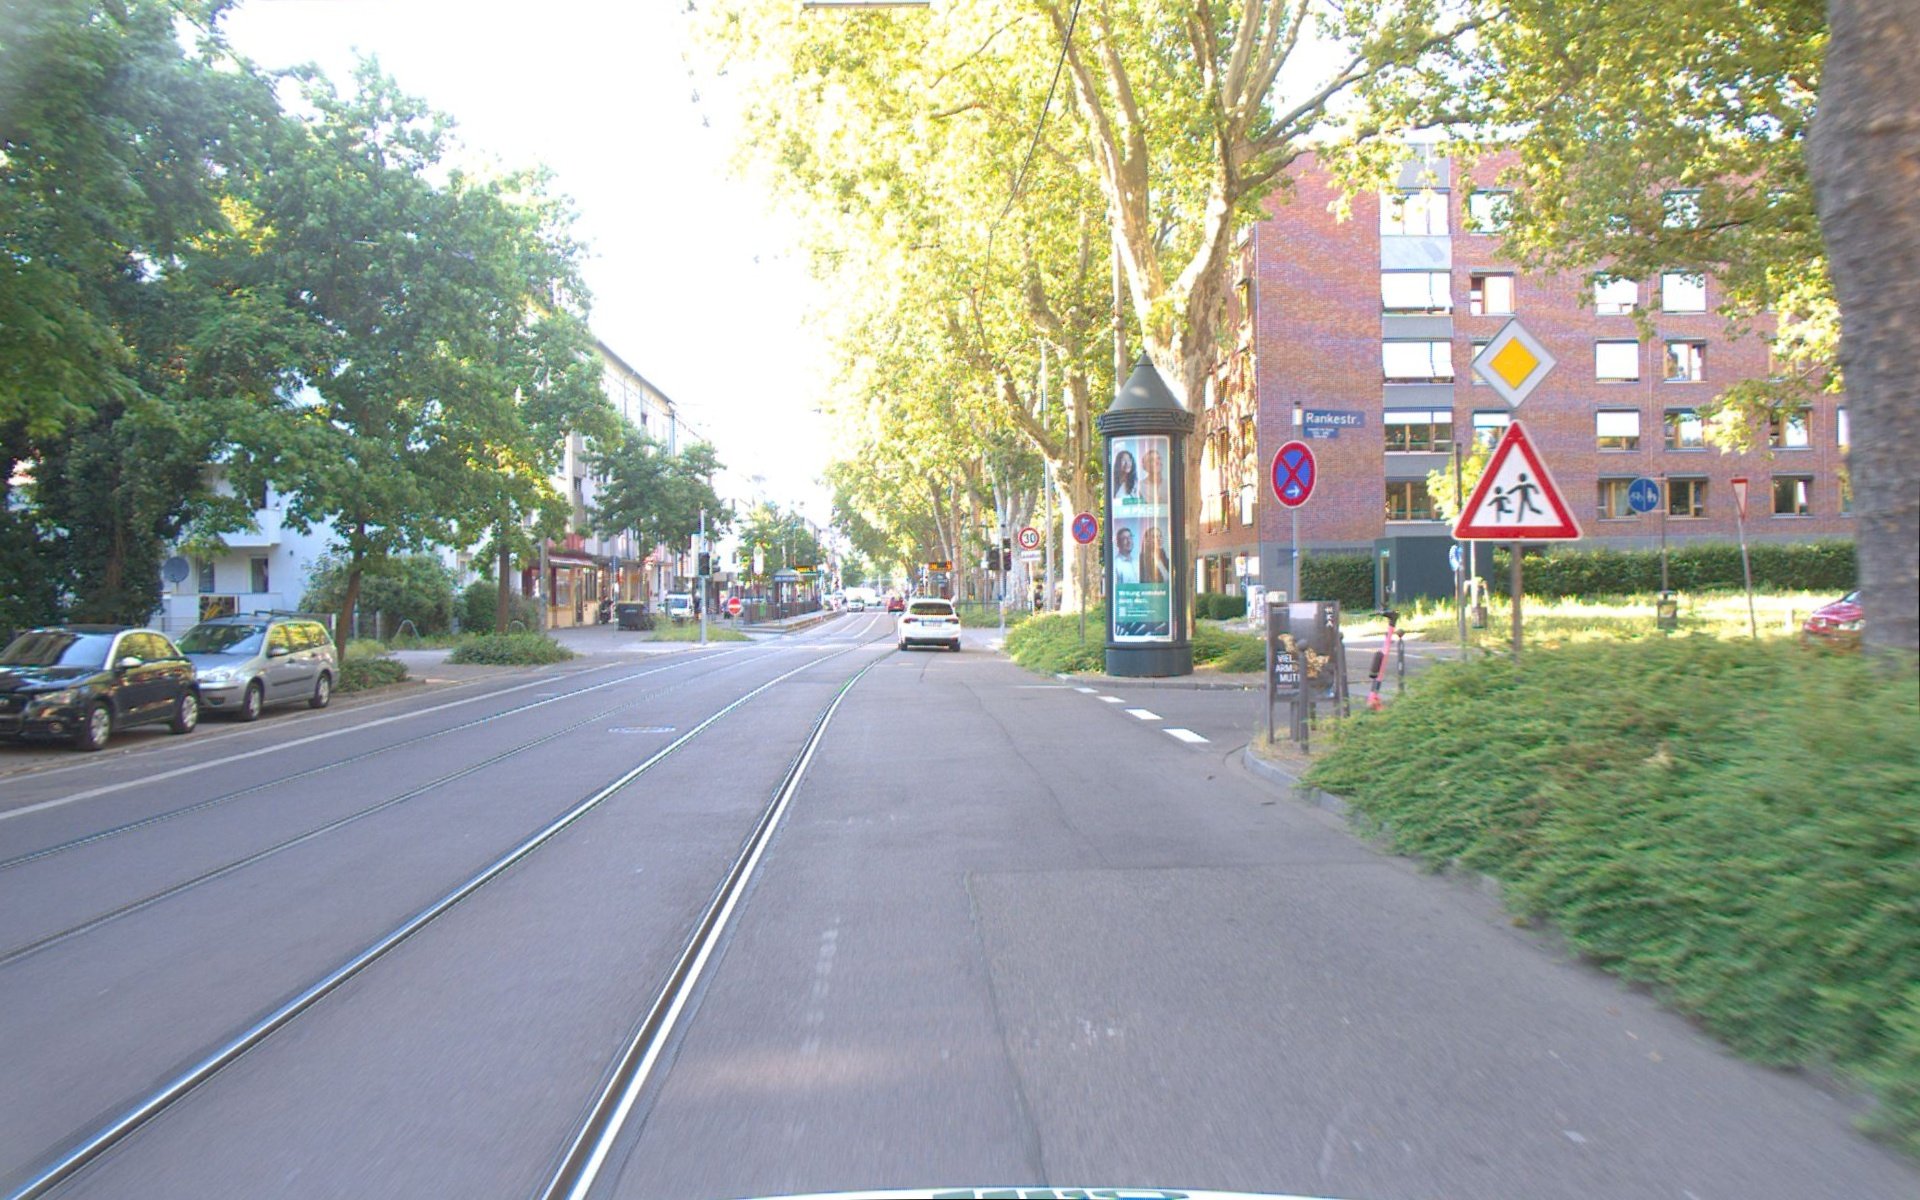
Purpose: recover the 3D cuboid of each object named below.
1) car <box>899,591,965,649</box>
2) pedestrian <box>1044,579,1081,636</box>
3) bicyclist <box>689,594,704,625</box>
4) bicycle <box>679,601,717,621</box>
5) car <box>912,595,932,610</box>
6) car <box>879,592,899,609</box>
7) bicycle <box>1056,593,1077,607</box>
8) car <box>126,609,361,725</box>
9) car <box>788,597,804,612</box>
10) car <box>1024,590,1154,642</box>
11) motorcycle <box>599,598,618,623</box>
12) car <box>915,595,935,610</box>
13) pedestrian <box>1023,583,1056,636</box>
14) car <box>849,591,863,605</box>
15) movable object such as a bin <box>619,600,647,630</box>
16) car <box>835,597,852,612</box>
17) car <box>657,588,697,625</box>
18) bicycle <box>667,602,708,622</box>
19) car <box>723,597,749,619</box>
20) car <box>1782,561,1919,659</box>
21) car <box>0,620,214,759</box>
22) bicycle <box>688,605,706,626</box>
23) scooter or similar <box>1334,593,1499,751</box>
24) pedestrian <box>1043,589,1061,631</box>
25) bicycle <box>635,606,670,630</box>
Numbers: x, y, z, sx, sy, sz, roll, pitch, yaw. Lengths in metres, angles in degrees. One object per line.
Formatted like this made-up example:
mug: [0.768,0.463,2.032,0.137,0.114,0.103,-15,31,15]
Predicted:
car: [-0.831,0.529,47.109,1.752,1.540,3.998,-1,0,-3]
pedestrian: [3.566,0.248,57.592,0.964,1.896,1.014,-5,1,-8]
bicyclist: [-12.997,0.450,81.566,0.628,1.480,0.836,-2,0,-3]
bicycle: [-16.172,0.674,102.019,2.207,1.093,0.636,2,0,-2]
car: [-4.097,0.249,177.583,1.954,1.478,3.998,-1,0,-3]
car: [-6.416,0.030,149.637,1.752,1.540,3.998,-1,0,-3]
bicycle: [8.365,0.023,129.849,1.533,1.055,0.479,-1,0,19]
car: [-11.096,0.974,25.979,1.664,1.577,4.536,-1,0,1]
car: [-18.764,0.492,189.425,1.644,1.575,3.998,1,0,-3]
car: [3.872,0.469,50.098,3.805,1.448,1.648,-2,0,0]
motorcycle: [-19.019,0.560,89.481,0.587,1.334,2.221,-1,0,-3]
car: [-3.699,0.250,172.512,1.954,1.478,3.998,-1,0,-3]
pedestrian: [2.852,0.330,59.373,0.976,1.842,0.863,-2,0,-8]
car: [-15.103,-0.305,240.729,1.829,1.925,3.998,-1,0,-3]
movable object such as a bin: [-15.325,0.689,77.479,1.147,1.372,0.782,2,0,-7]
car: [-12.315,0.470,175.284,1.660,1.444,3.998,-1,0,-3]
car: [-15.509,0.332,90.825,1.654,1.974,3.998,-1,0,-3]
bicycle: [-15.924,0.687,96.682,2.207,1.093,0.636,2,0,-2]
car: [-16.619,0.567,122.945,1.561,1.575,3.998,1,0,-3]
car: [15.431,0.120,26.732,3.468,1.477,1.682,-2,0,-5]
car: [-10.869,1.034,20.498,1.625,1.470,3.947,-1,0,-3]
bicycle: [-12.976,0.769,81.558,0.628,1.004,2.100,-2,0,-3]
scooter or similar: [3.840,0.592,13.944,1.184,1.261,0.569,-2,0,-5]
pedestrian: [3.798,0.396,68.229,0.639,1.698,0.737,-1,0,-3]
bicycle: [-14.775,0.849,79.579,1.503,1.094,0.885,2,0,-3]
